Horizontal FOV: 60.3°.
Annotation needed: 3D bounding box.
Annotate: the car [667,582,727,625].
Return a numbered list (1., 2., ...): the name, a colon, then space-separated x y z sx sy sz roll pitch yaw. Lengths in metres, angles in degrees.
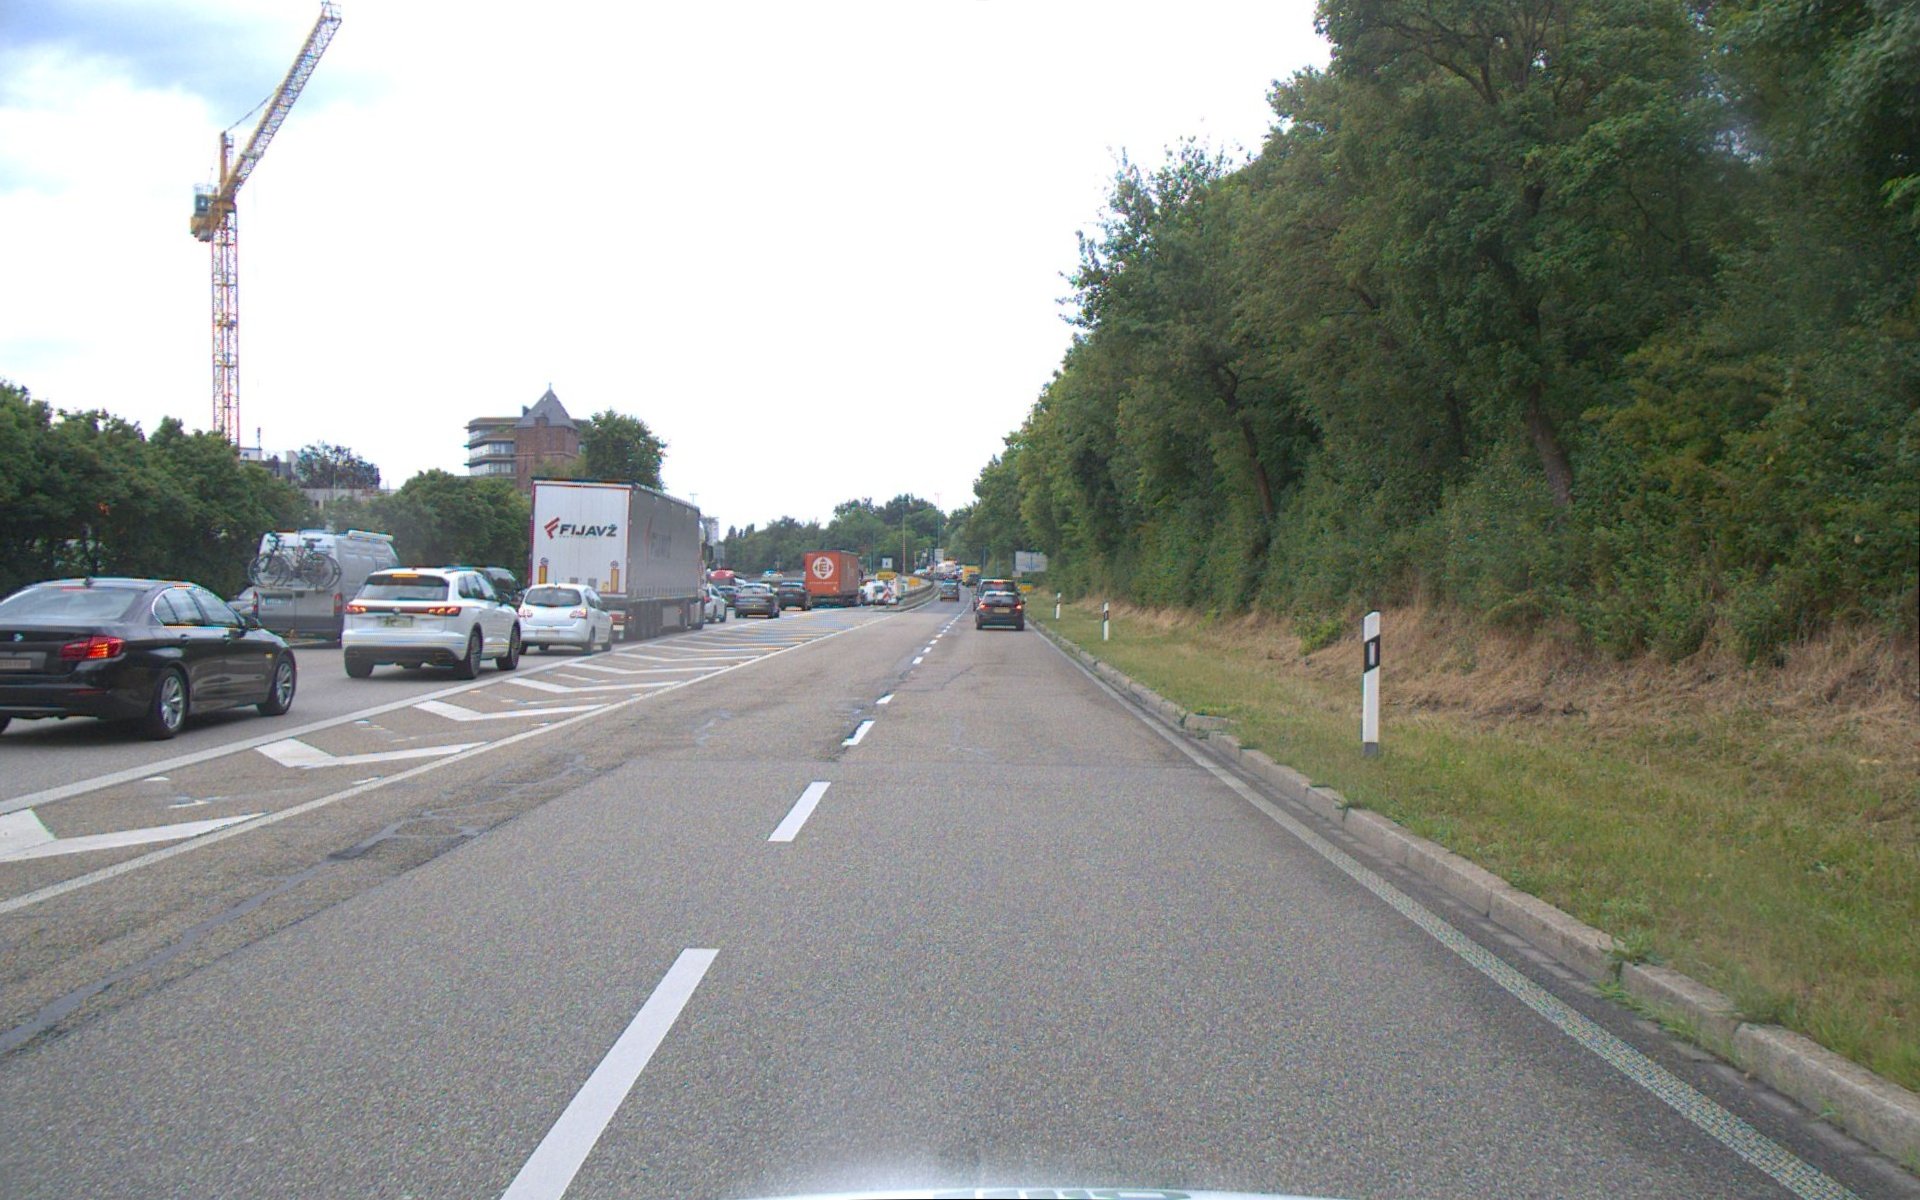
1. car: -10.491 0.146 66.256 1.763 1.632 4.257 1 0 -1

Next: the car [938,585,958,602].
1. car: -1.096 -0.563 149.958 1.788 1.508 3.999 0 1 -2

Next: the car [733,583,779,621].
1. car: -9.517 0.097 77.568 1.682 1.713 3.999 1 0 -1

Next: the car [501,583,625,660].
1. car: -8.535 0.429 35.895 1.728 1.504 4.088 2 0 -1

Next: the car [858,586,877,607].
1. car: -8.807 -0.297 157.616 1.581 1.982 3.705 1 0 0

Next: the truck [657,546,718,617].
1. truck: -17.061 -1.076 104.125 2.684 4.211 10.689 1 0 -4

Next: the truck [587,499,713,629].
1. truck: -10.198 -1.110 55.233 3.135 4.016 7.069 1 0 -3

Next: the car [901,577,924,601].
1. car: -4.045 -0.945 139.835 1.912 2.049 3.998 0 0 -2

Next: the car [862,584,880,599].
1. car: -9.123 -0.838 169.546 1.742 1.508 3.997 0 0 -3

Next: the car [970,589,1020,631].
1. car: 1.332 0.345 62.608 1.787 1.508 4.001 0 1 1

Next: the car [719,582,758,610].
1. car: -13.668 -0.230 102.217 1.821 1.646 4.000 1 0 0

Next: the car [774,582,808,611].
1. car: -10.434 -0.204 102.257 1.682 1.713 3.999 1 0 -1

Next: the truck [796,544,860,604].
1. truck: -9.684 -1.904 122.779 3.418 4.144 13.593 0 1 1

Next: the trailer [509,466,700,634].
1. trailer: -9.843 -1.220 47.576 3.233 4.107 13.089 1 0 -3

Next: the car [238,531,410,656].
1. car: -14.154 -0.155 37.176 1.953 2.598 5.360 0 0 -2

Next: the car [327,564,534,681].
1. car: -8.477 0.314 26.951 1.917 1.724 4.864 0 0 -2

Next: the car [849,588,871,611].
1. car: -8.884 -0.017 147.778 1.581 1.982 3.706 1 0 2

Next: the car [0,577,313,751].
1. car: -8.270 0.555 16.655 1.810 1.485 4.828 1 0 -3
